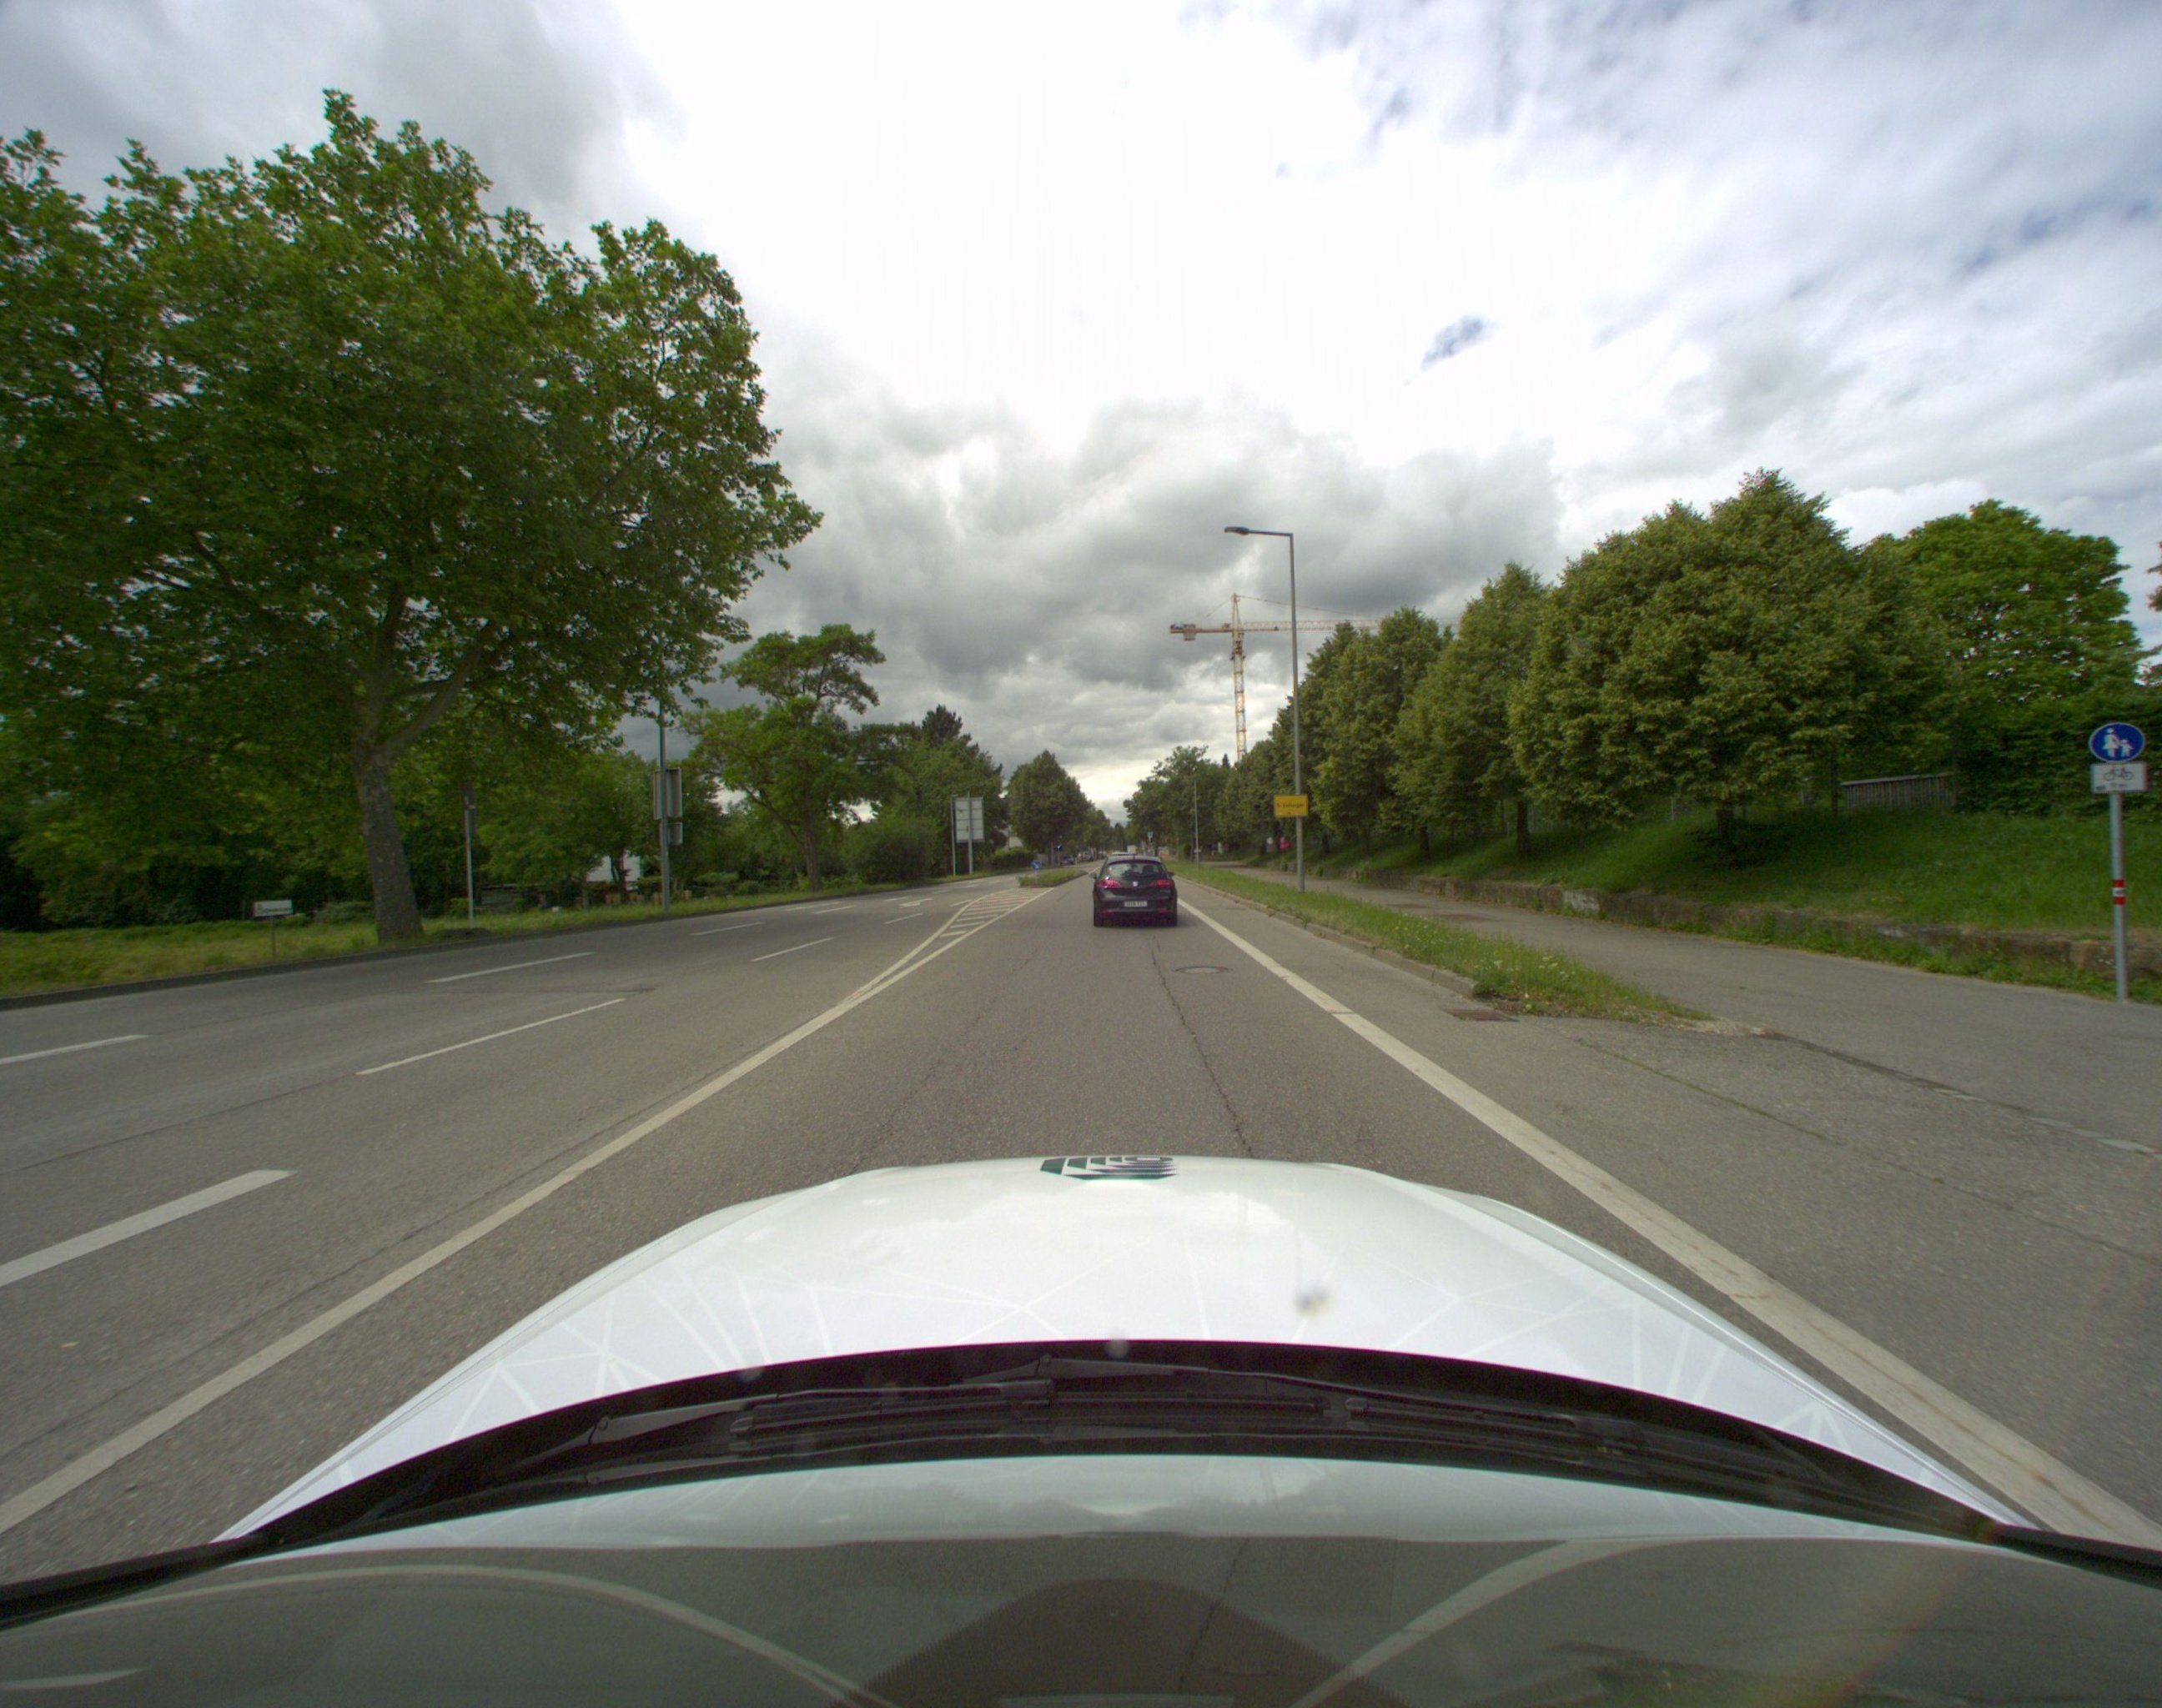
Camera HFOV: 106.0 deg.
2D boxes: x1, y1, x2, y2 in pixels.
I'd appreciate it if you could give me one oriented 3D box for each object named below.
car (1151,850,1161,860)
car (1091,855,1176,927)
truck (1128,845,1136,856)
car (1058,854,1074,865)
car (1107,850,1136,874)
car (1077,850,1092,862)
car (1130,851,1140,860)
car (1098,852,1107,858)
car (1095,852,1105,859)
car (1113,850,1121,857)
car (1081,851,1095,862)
[{"bbox_3d":[12.603,0.180,137.104,1.680,1.490,3.358,-2,0,4],"label":"car"},{"bbox_3d":[1.127,0.739,17.952,1.656,1.401,3.814,0,0,3],"label":"car"},{"bbox_3d":[14.819,-0.972,234.875,2.269,3.104,8.518,0,0,3],"label":"truck"},{"bbox_3d":[-2.052,0.774,114.231,1.710,1.395,4.806,-4,0,4],"label":"car"},{"bbox_3d":[2.658,0.493,53.750,1.838,1.510,3.814,0,0,3],"label":"car"},{"bbox_3d":[0.624,0.388,143.384,2.091,1.896,5.790,-4,0,4],"label":"car"},{"bbox_3d":[10.538,0.277,158.599,1.873,1.689,4.218,-2,0,4],"label":"car"},{"bbox_3d":[6.227,0.374,233.354,2.091,1.506,5.790,-4,0,4],"label":"car"},{"bbox_3d":[4.794,0.406,200.524,2.091,1.506,5.790,-4,0,4],"label":"car"},{"bbox_3d":[9.380,-0.125,211.062,1.865,1.635,4.348,-4,0,6],"label":"car"},{"bbox_3d":[1.253,0.410,150.815,2.091,1.896,5.790,-4,0,4],"label":"car"}]
